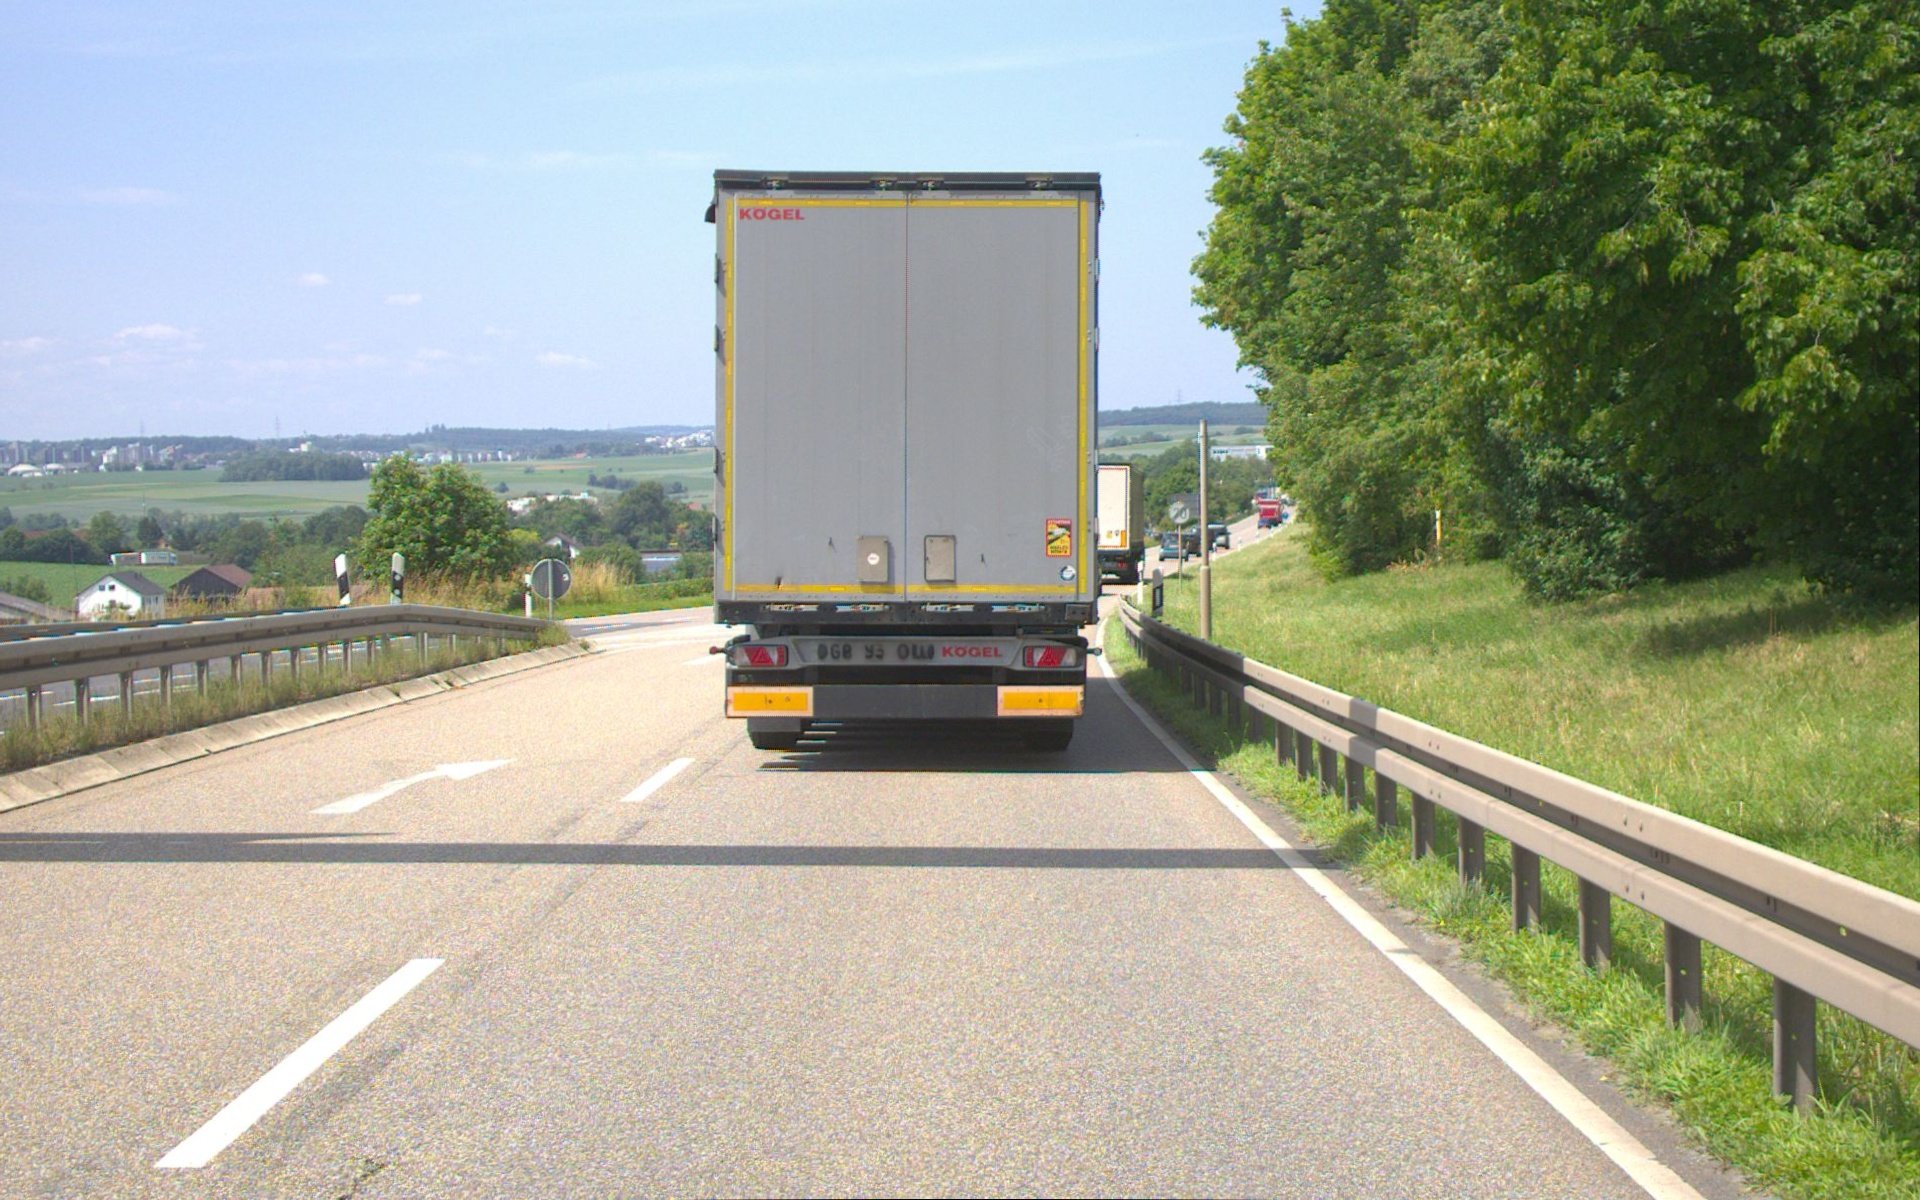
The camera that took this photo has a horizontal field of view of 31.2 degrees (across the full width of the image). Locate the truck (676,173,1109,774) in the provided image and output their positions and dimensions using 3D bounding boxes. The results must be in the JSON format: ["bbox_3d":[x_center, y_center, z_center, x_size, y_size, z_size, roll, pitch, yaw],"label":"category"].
[{"bbox_3d":[-0.461,-0.936,28.204,2.799,3.916,11.342,1,1,0],"label":"truck"}]

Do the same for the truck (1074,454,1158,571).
[{"bbox_3d":[5.400,-2.914,117.713,2.656,3.752,10.160,0,0,4],"label":"truck"}]

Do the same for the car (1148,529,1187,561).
[{"bbox_3d":[11.192,-2.951,185.246,1.786,1.682,4.000,0,0,-1],"label":"car"}]

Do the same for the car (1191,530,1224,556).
[{"bbox_3d":[16.392,-3.784,227.646,1.786,1.682,4.000,0,0,-1],"label":"car"}]

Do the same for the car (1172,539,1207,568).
[{"bbox_3d":[13.741,-2.789,206.026,1.786,1.682,4.000,0,0,-1],"label":"car"}]
